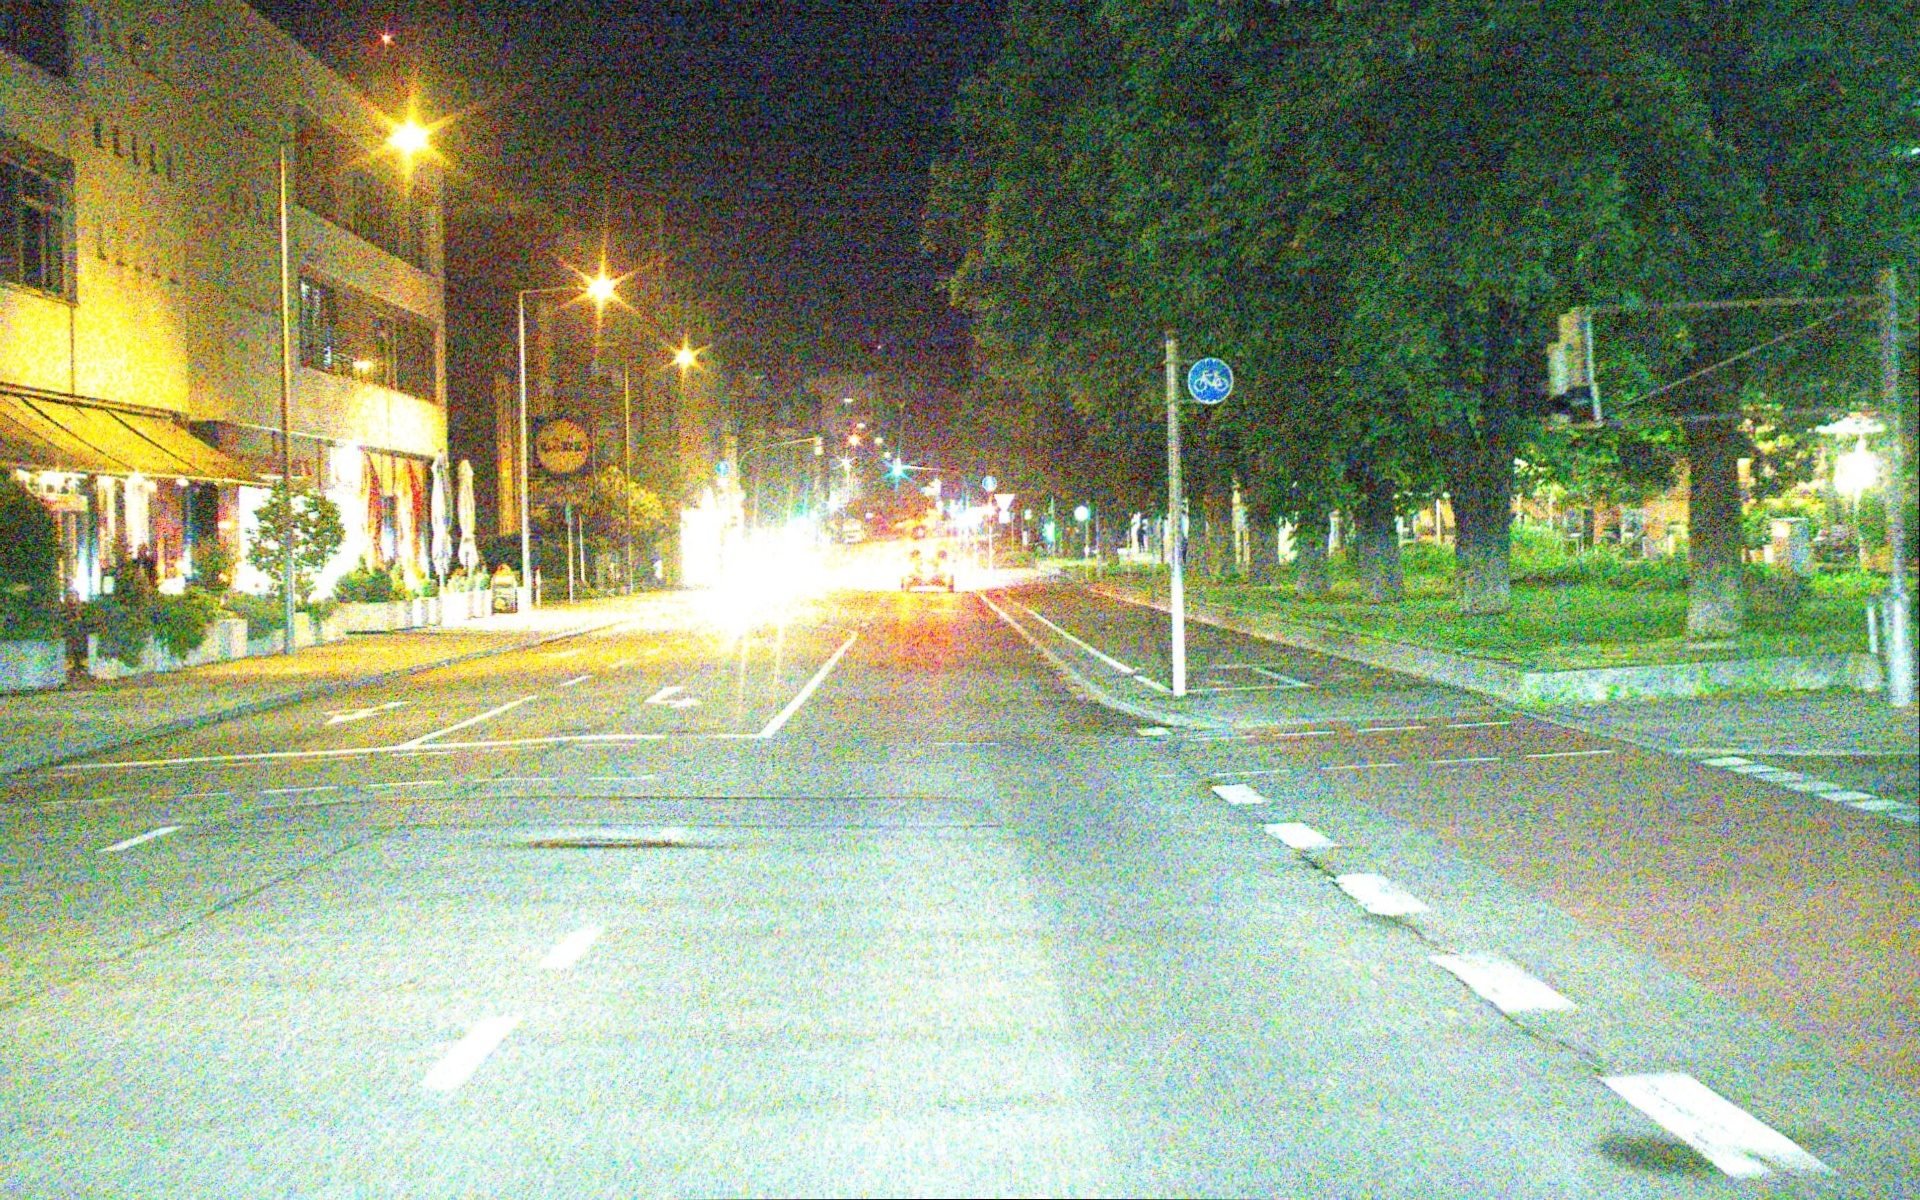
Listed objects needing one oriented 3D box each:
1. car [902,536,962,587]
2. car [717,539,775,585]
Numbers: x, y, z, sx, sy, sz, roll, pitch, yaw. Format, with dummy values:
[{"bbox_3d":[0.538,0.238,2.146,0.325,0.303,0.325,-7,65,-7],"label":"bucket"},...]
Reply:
[{"bbox_3d":[-0.973,-1.354,118.978,1.993,1.637,4.000,-2,1,-1],"label":"car"},{"bbox_3d":[-8.130,-1.461,130.914,1.993,1.637,4.000,-2,1,-1],"label":"car"}]
